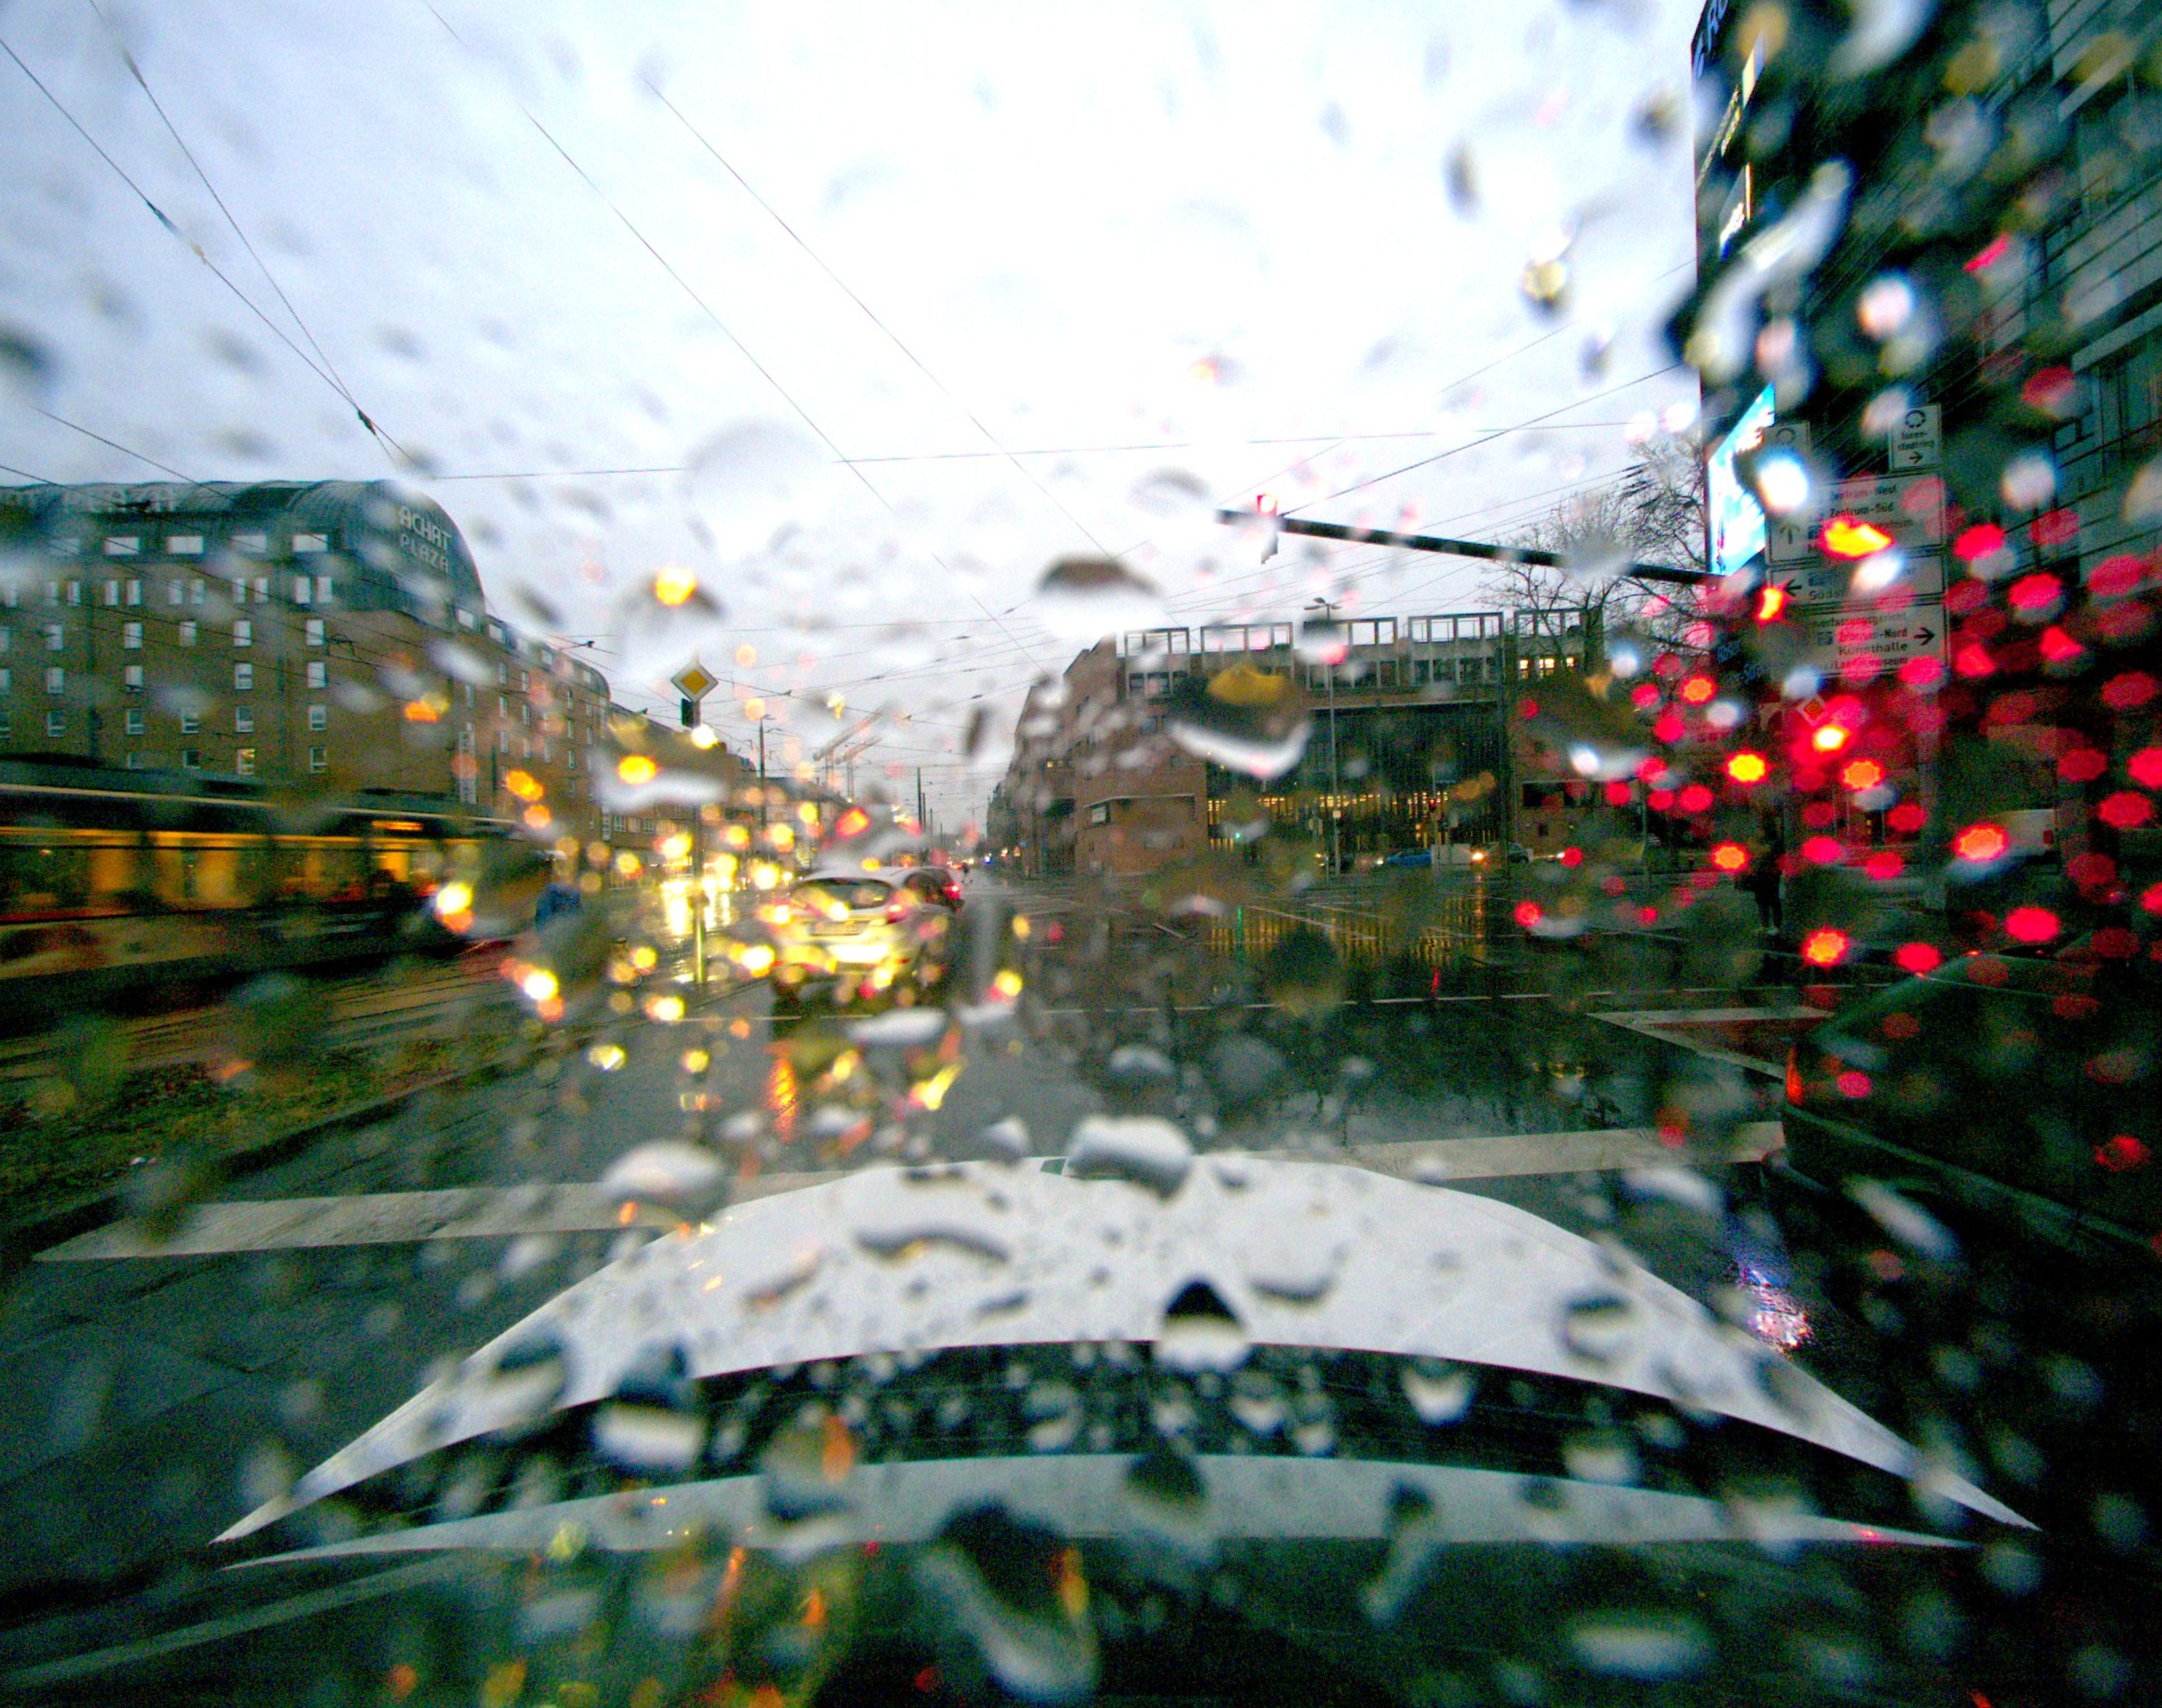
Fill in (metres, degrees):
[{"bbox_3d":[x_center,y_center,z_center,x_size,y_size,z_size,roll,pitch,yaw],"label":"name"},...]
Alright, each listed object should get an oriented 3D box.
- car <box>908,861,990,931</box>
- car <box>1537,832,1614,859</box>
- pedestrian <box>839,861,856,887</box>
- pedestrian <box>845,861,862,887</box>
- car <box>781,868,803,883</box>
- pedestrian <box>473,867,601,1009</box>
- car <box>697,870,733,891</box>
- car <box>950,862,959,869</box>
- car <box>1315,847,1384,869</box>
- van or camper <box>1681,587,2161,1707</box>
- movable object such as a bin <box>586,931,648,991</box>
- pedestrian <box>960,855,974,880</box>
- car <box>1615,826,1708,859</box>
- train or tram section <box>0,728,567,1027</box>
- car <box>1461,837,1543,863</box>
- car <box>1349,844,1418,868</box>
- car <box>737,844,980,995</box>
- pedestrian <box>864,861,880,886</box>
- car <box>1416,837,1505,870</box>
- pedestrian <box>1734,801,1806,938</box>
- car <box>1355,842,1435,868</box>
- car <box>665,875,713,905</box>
[{"bbox_3d":[-3.248,0.927,19.558,1.699,1.459,3.741,-2,0,-12],"label":"car"},{"bbox_3d":[32.159,-0.573,53.075,3.979,1.504,1.845,-2,4,-4],"label":"car"},{"bbox_3d":[-18.634,1.615,64.974,0.973,2.014,0.838,-1,-1,16],"label":"pedestrian"},{"bbox_3d":[-18.500,1.628,66.126,0.973,2.014,0.838,-1,-1,16],"label":"pedestrian"},{"bbox_3d":[-32.115,2.391,90.568,1.787,1.624,3.850,-1,0,-11],"label":"car"},{"bbox_3d":[-6.713,1.005,10.074,0.707,1.601,1.043,-4,-1,31],"label":"pedestrian"},{"bbox_3d":[-29.606,2.114,65.980,1.787,1.624,3.850,-1,0,-11],"label":"car"},{"bbox_3d":[-27.654,2.482,177.835,1.869,1.579,3.989,0,0,-8],"label":"car"},{"bbox_3d":[18.246,0.295,55.445,3.977,1.310,1.998,-2,0,-2],"label":"car"},{"bbox_3d":[2.675,0.493,0.299,1.750,1.906,4.420,-1,0,2],"label":"van or camper"},{"bbox_3d":[-6.047,1.389,10.622,0.407,0.699,0.541,-4,-2,31],"label":"movable object such as a bin"},{"bbox_3d":[-9.383,1.130,66.903,1.069,2.013,0.682,-2,0,-12],"label":"pedestrian"},{"bbox_3d":[32.247,-0.648,45.330,3.979,1.600,1.845,-2,4,-4],"label":"car"},{"bbox_3d":[-14.478,0.342,11.080,2.856,3.614,19.206,-2,0,-1],"label":"train or tram section"},{"bbox_3d":[24.819,-0.251,48.079,3.979,1.288,1.845,-2,4,-4],"label":"car"},{"bbox_3d":[19.144,0.124,51.595,3.713,1.263,1.845,-2,4,-4],"label":"car"},{"bbox_3d":[-2.535,0.750,10.336,1.698,1.448,4.003,-4,-2,4],"label":"car"},{"bbox_3d":[-17.238,1.627,67.204,0.973,2.014,0.838,-1,-1,16],"label":"pedestrian"},{"bbox_3d":[20.433,-0.053,43.893,3.979,1.504,1.845,-2,4,-4],"label":"car"},{"bbox_3d":[11.264,0.248,13.333,0.574,2.184,0.619,-1,-1,-4],"label":"pedestrian"},{"bbox_3d":[18.312,0.018,47.526,3.979,1.263,1.845,-2,4,-4],"label":"car"},{"bbox_3d":[-23.950,2.159,49.881,2.050,1.561,4.802,-2,0,-19],"label":"car"}]
